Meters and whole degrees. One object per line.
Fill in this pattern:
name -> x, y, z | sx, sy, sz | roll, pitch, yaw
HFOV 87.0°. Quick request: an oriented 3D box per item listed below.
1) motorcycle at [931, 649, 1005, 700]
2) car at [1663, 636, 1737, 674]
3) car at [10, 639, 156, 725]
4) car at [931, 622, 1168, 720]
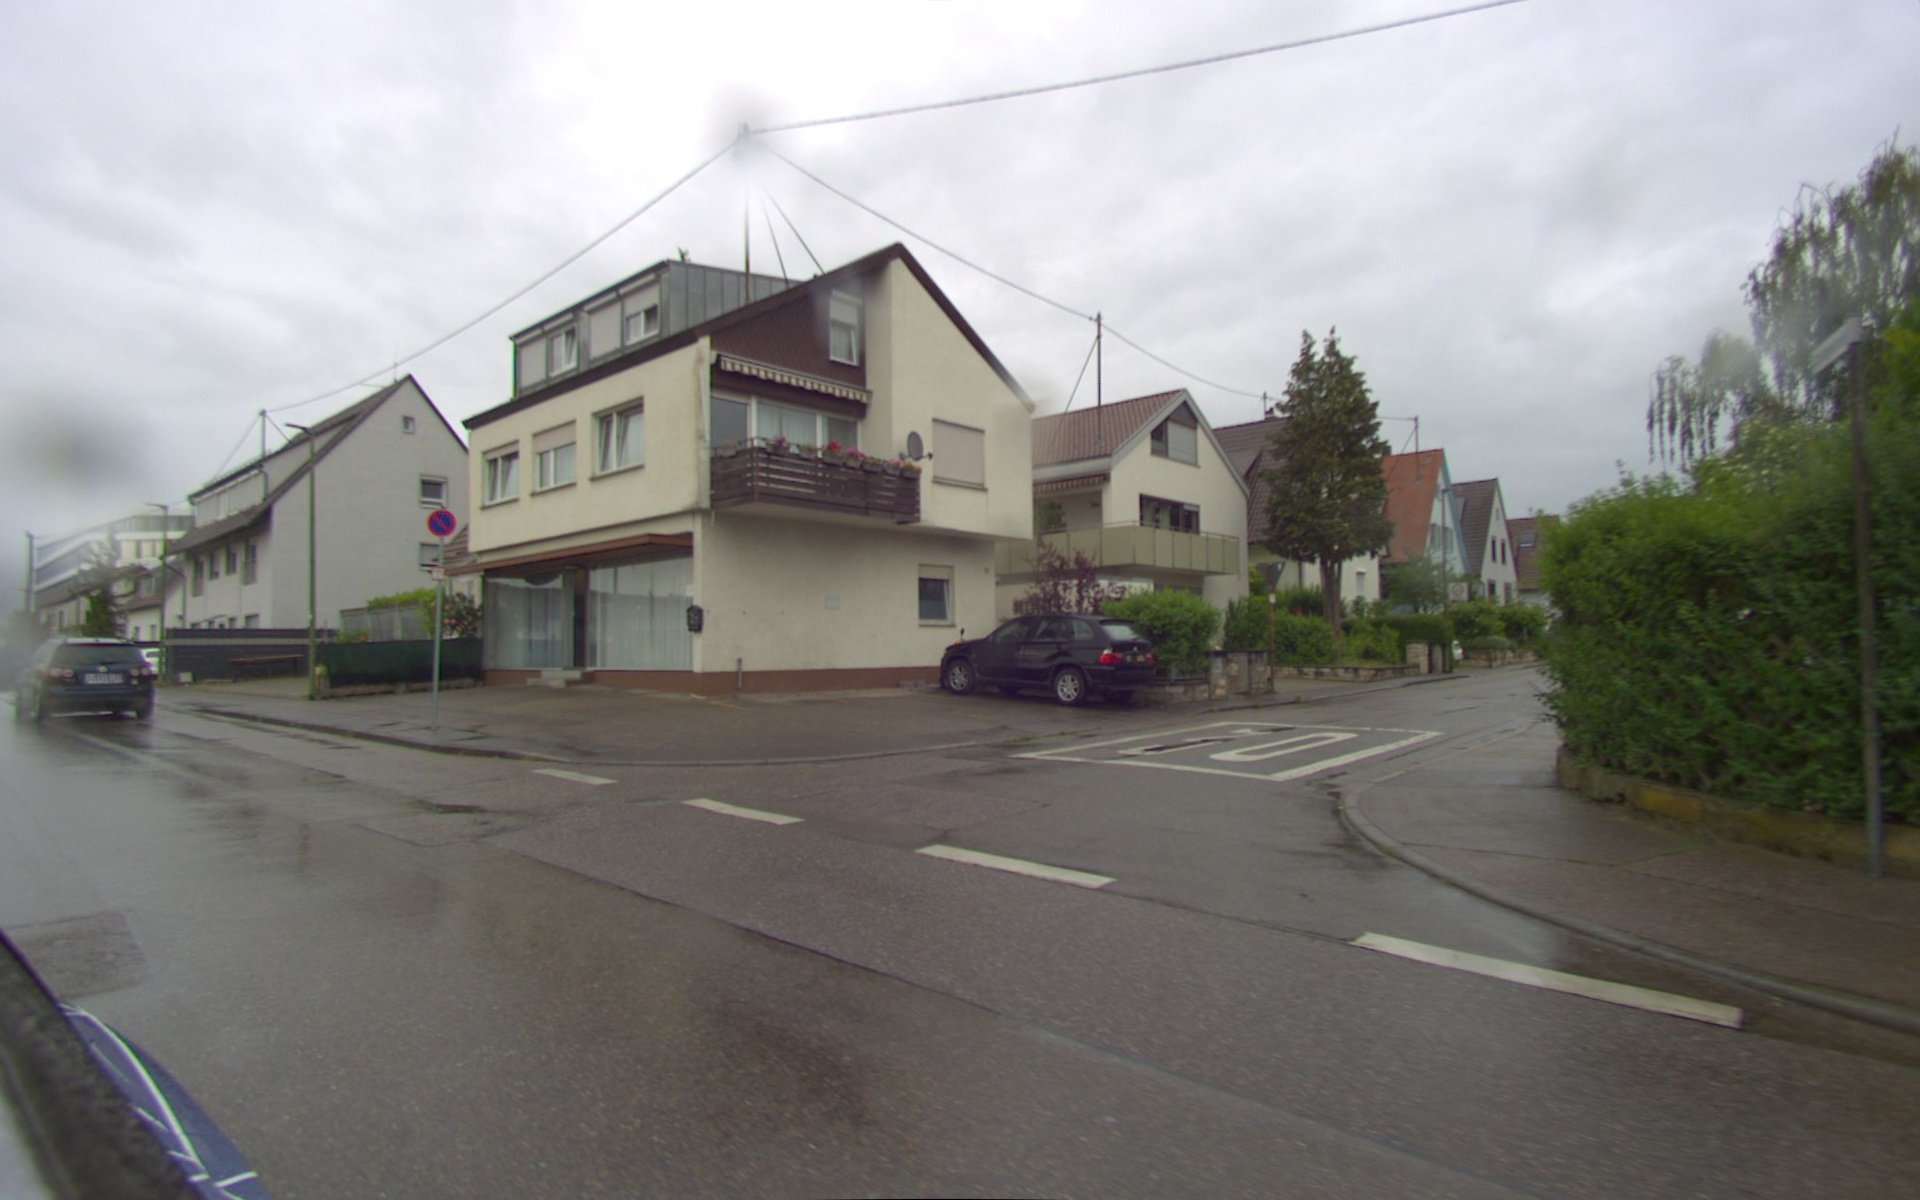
motorcycle -> 0.194, 1.664, 22.670 | 0.613, 1.090, 1.815 | -3, -6, 41
car -> 30.354, 2.214, 41.458 | 2.000, 1.453, 3.944 | -3, -3, 42
car -> -17.350, 1.564, 19.961 | 3.999, 1.539, 1.658 | -3, -4, 42
car -> 1.699, 1.325, 20.271 | 4.544, 1.671, 1.839 | 0, -1, 42
